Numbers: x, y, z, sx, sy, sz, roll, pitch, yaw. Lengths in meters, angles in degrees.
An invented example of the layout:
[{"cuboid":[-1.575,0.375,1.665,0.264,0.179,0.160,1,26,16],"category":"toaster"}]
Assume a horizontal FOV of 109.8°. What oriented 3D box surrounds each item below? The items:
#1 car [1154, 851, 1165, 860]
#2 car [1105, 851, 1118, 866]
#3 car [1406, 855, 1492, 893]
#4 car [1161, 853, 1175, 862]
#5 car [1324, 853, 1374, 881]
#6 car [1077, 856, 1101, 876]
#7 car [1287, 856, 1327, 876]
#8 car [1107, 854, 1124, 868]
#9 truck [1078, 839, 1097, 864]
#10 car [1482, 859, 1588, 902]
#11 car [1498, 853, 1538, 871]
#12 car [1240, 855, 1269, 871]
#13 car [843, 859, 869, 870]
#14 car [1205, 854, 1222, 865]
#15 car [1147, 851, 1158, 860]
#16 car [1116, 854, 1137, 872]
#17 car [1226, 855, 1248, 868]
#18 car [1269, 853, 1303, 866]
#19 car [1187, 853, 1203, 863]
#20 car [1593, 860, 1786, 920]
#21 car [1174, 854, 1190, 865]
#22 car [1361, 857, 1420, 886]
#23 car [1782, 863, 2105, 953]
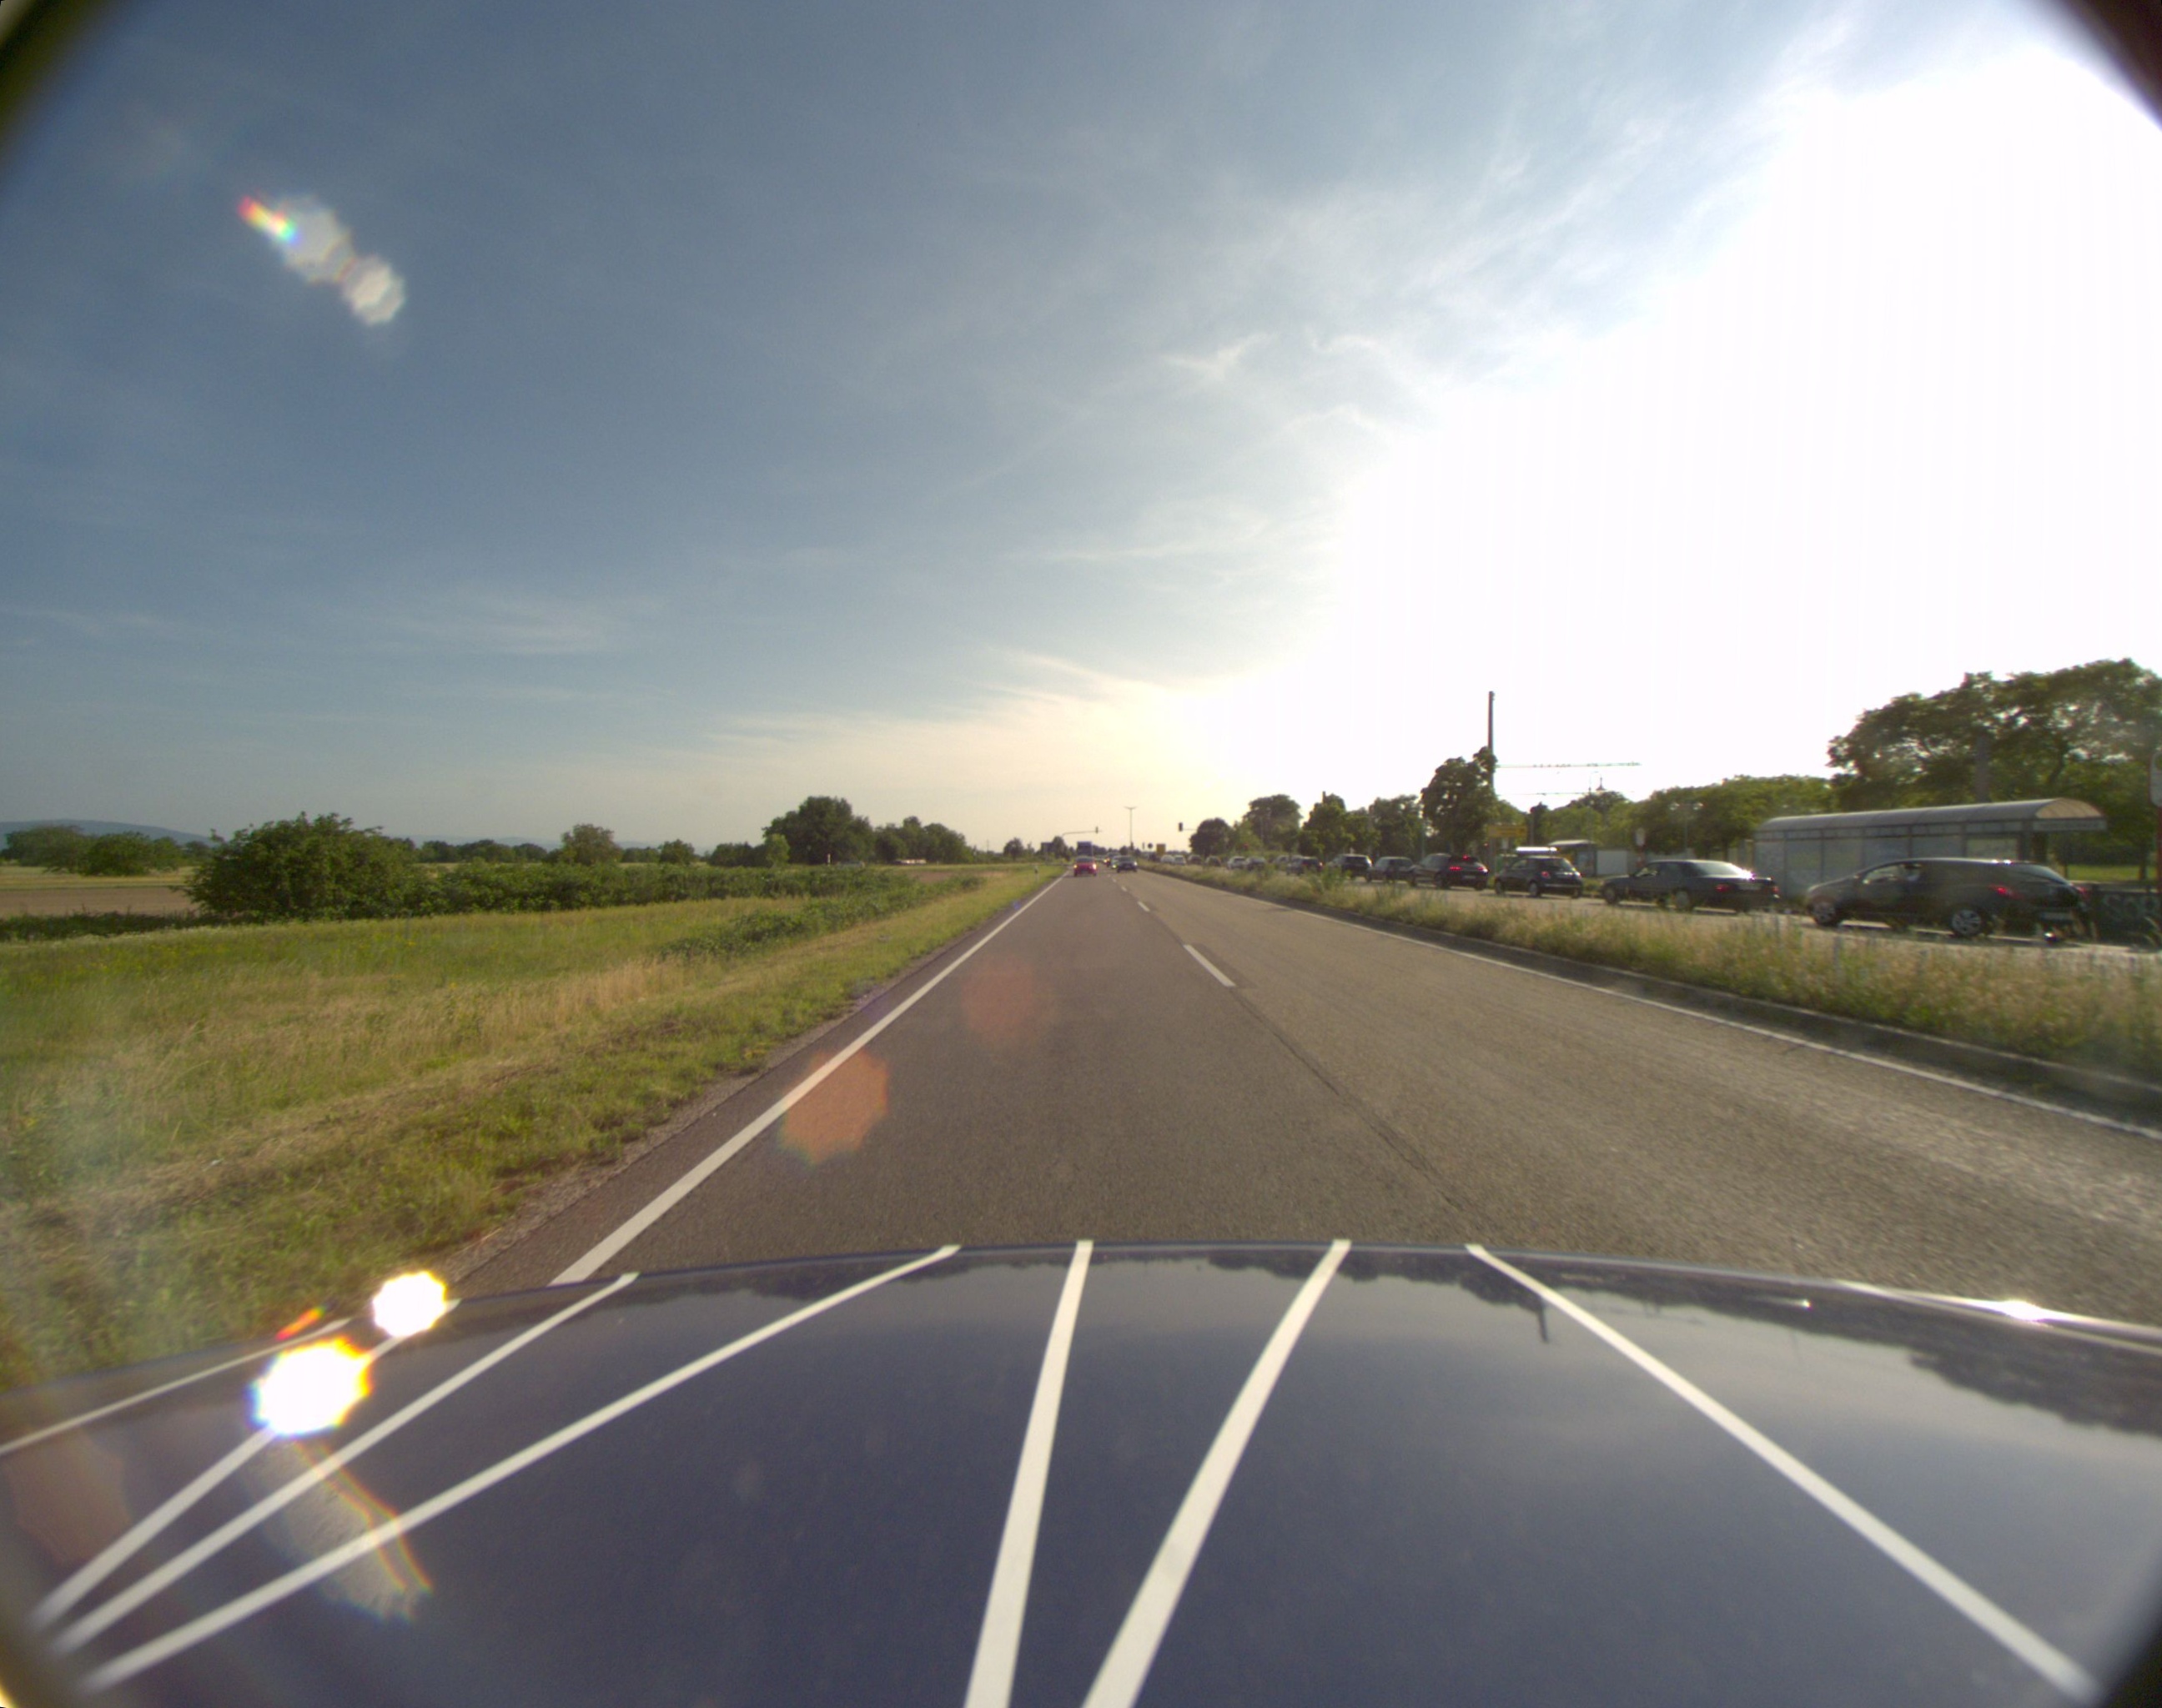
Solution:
[{"cuboid":[18.279,0.361,177.006,1.998,1.961,5.079,2,0,1],"category":"car"},{"cuboid":[4.020,0.556,101.005,1.636,1.833,4.000,-2,0,1],"category":"car"},{"cuboid":[16.341,0.836,33.995,1.664,1.553,4.545,1,0,0],"category":"car"},{"cuboid":[13.870,0.532,121.466,1.756,1.499,4.583,1,0,1],"category":"car"},{"cuboid":[17.086,0.793,48.670,1.664,1.677,4.229,1,0,0],"category":"car"},{"cuboid":[0.602,0.891,58.790,1.735,1.467,4.000,-2,0,1],"category":"car"},{"cuboid":[16.977,0.892,57.322,1.664,1.373,4.541,1,0,0],"category":"car"},{"cuboid":[3.807,0.757,84.353,1.636,1.442,4.000,-2,0,1],"category":"car"},{"cuboid":[1.145,-0.437,128.169,2.849,3.896,10.104,-2,0,1],"category":"truck"},{"cuboid":[16.745,0.934,28.247,1.664,1.423,3.805,1,0,0],"category":"car"},{"cuboid":[48.160,0.875,83.743,3.678,1.866,1.831,-2,0,-18],"category":"car"},{"cuboid":[16.702,0.856,73.204,1.664,1.407,4.975,1,0,0],"category":"car"},{"cuboid":[-37.435,1.787,126.707,4.002,1.641,1.997,-2,0,-14],"category":"car"},{"cuboid":[17.576,0.773,100.883,1.664,1.373,4.000,1,0,0],"category":"car"},{"cuboid":[14.148,0.363,150.361,1.862,1.735,4.529,1,0,1],"category":"car"},{"cuboid":[4.006,0.768,67.514,1.636,1.500,4.000,-2,0,1],"category":"car"},{"cuboid":[17.617,0.835,86.009,1.664,1.373,4.468,1,0,0],"category":"car"},{"cuboid":[34.371,0.914,127.458,4.844,1.876,2.253,-2,0,-4],"category":"car"},{"cuboid":[17.981,0.612,119.907,1.801,1.580,4.000,1,0,0],"category":"car"},{"cuboid":[16.925,0.918,21.503,1.664,1.423,4.717,1,0,0],"category":"car"},{"cuboid":[14.765,0.784,110.861,1.823,1.461,4.294,1,0,1],"category":"car"},{"cuboid":[16.805,0.910,41.447,1.664,1.423,3.805,1,0,0],"category":"car"},{"cuboid":[16.413,0.928,14.839,1.664,1.423,4.056,1,0,0],"category":"car"}]
